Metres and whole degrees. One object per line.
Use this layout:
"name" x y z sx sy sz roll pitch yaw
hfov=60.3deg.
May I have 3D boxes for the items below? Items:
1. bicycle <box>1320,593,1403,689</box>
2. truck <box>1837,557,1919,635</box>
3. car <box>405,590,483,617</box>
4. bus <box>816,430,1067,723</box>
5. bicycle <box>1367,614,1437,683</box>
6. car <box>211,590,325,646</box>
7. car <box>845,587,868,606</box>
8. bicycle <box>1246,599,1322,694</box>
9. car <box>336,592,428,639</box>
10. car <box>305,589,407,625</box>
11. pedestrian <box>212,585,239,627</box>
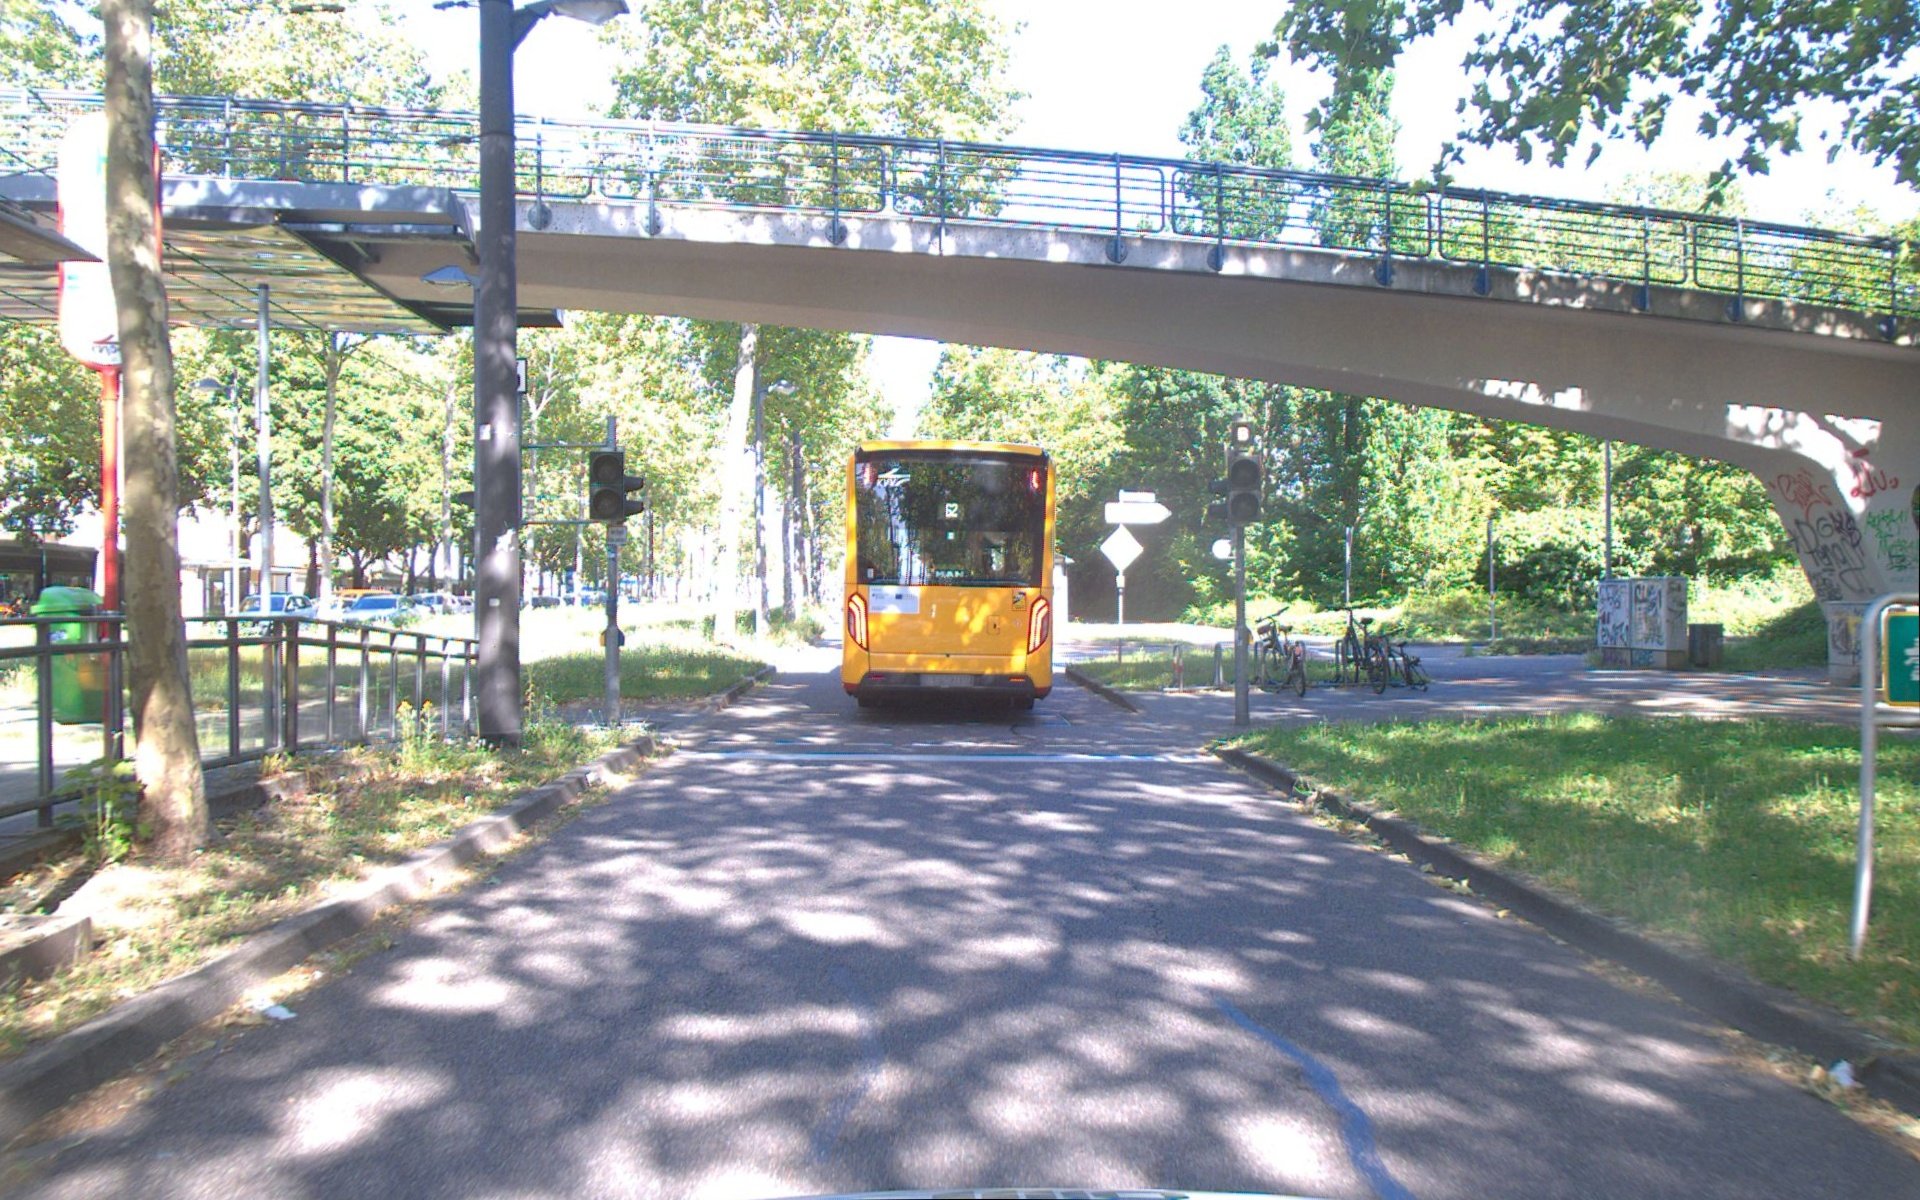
"bicycle" 5.537 0.542 22.896 0.578 1.203 1.799 -3 1 -2
"truck" 28.486 -0.145 46.797 6.502 2.131 2.116 -1 0 -9
"car" -29.436 0.190 94.400 1.768 1.537 3.976 0 0 42
"bus" -0.436 -0.303 24.952 2.841 3.324 12.212 0 0 -2
"bicycle" 6.154 0.663 23.088 0.495 0.867 1.473 -3 1 -2
"car" -21.064 0.520 50.523 1.758 1.608 4.287 0 0 -1
"car" -9.966 -0.370 159.826 1.946 1.672 4.133 2 1 0
"bicycle" 4.466 0.617 22.913 0.578 1.203 1.799 -3 1 -2
"car" -19.709 0.499 56.584 1.759 1.536 4.672 0 0 -4
"car" -27.075 0.305 74.209 1.768 1.537 3.976 0 0 42
"pedestrian" -25.990 0.204 58.541 0.635 1.485 0.650 0 0 0
